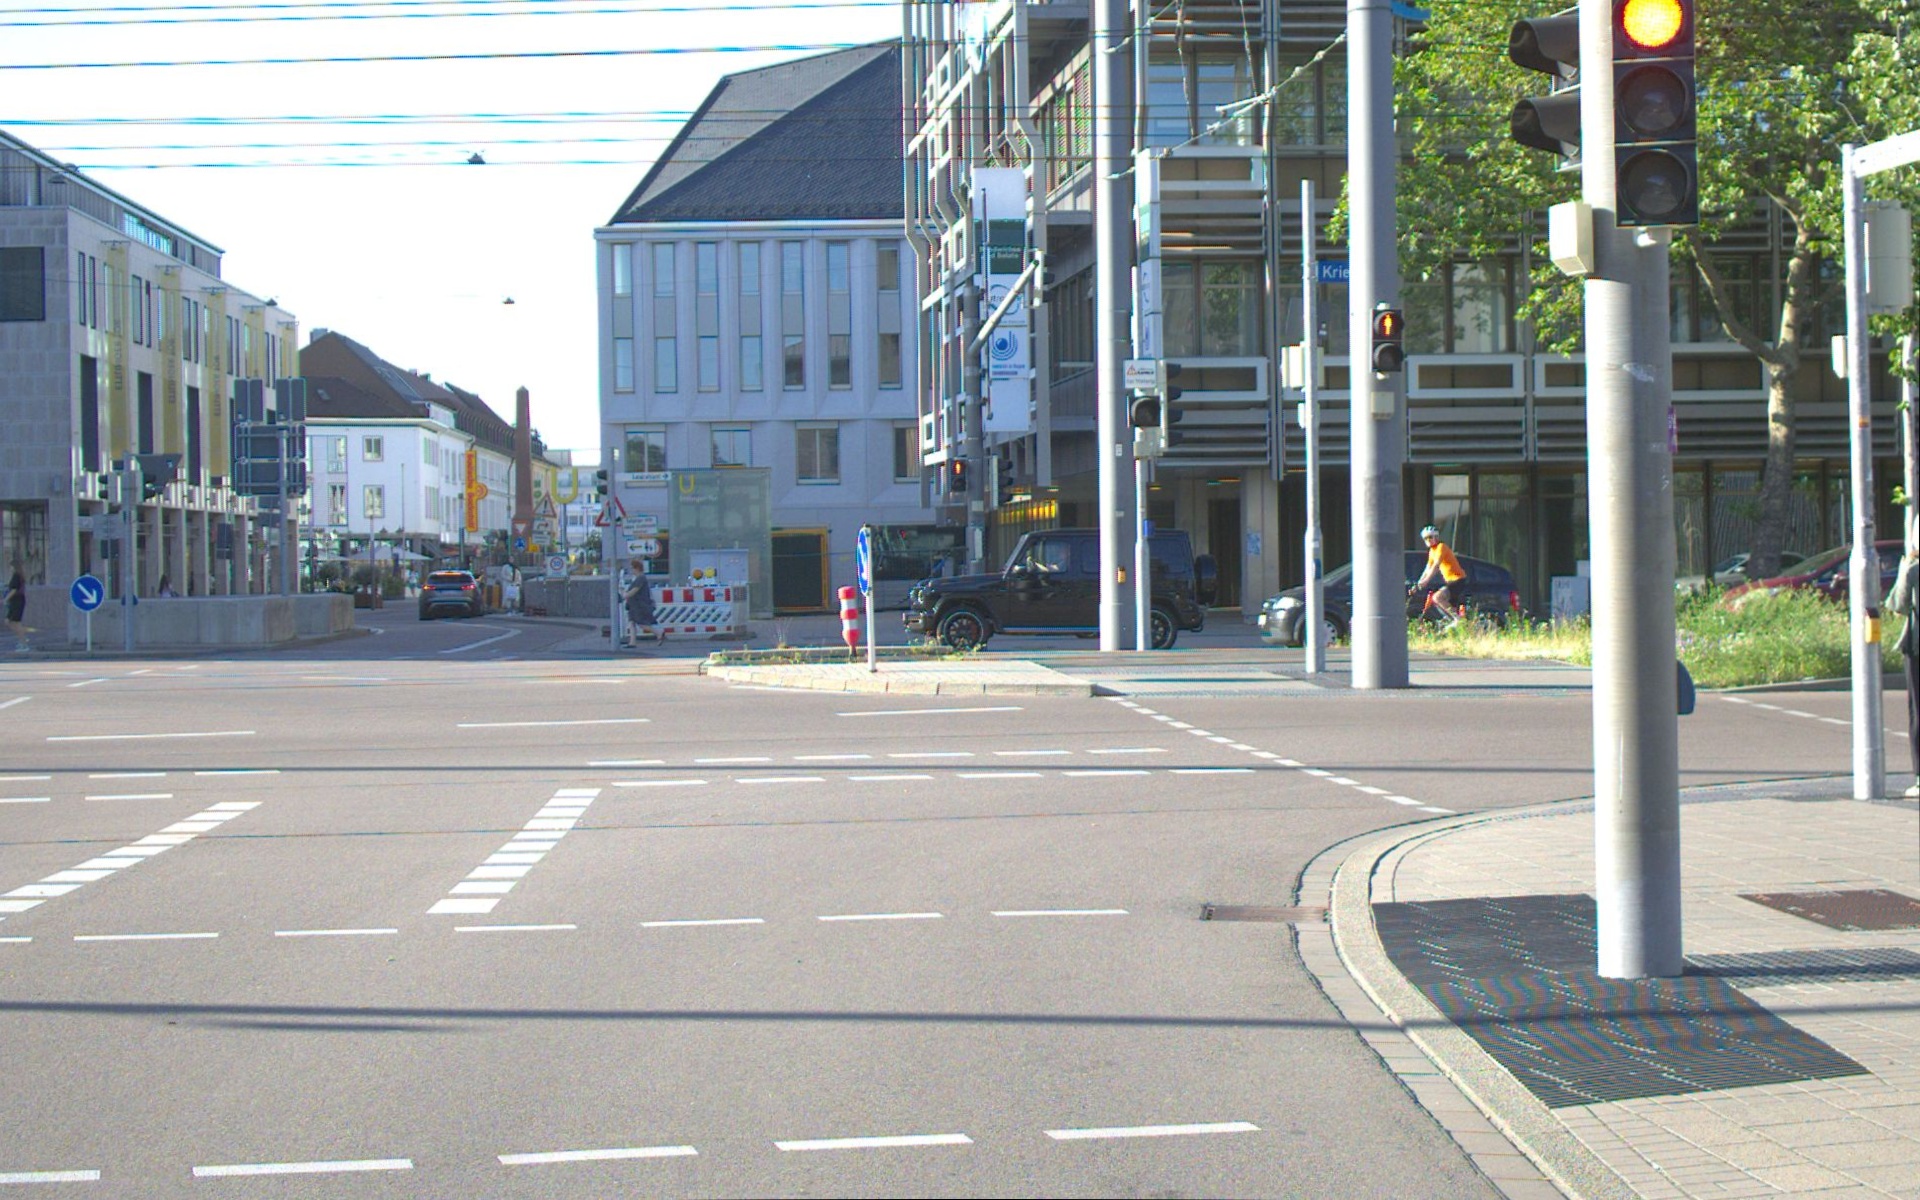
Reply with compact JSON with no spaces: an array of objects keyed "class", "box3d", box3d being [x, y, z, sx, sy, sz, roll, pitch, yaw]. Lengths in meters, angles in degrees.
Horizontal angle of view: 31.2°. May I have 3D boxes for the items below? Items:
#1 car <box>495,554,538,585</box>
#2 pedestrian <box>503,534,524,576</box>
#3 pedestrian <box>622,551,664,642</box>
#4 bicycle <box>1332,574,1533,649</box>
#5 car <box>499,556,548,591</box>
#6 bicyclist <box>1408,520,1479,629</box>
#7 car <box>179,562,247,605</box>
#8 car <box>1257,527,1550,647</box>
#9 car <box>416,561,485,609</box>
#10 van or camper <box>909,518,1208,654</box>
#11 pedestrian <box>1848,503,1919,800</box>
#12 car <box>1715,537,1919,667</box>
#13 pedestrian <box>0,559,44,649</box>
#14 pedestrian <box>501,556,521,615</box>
[{"class":"car","box3d":[-21.403,-1.475,166.094,1.658,1.453,3.542,-1,1,-1]},{"class":"pedestrian","box3d":[-21.381,-2.159,164.680,0.910,1.958,0.823,1,0,-1]},{"class":"pedestrian","box3d":[-5.900,-0.065,64.073,0.700,1.682,0.619,-1,1,0]},{"class":"bicycle","box3d":[6.464,0.153,47.110,2.568,0.972,1.047,-1,1,-3]},{"class":"car","box3d":[-18.538,-1.128,146.221,1.658,1.453,3.542,-1,1,-1]},{"class":"bicyclist","box3d":[6.621,-0.355,47.119,0.822,1.469,0.652,-1,1,-4]},{"class":"car","box3d":[-26.530,-0.589,122.125,1.658,1.453,3.542,-1,1,-1]},{"class":"car","box3d":[6.426,-0.205,50.084,3.986,1.678,1.761,-1,1,-1]},{"class":"car","box3d":[-16.007,-0.481,108.073,1.658,1.453,3.542,-1,1,-1]},{"class":"van or camper","box3d":[1.490,-0.230,53.282,4.414,2.007,1.995,-1,1,-5]},{"class":"pedestrian","box3d":[5.480,0.272,18.903,0.765,1.608,0.874,-1,1,-23]},{"class":"car","box3d":[12.588,-0.001,46.445,4.287,1.678,1.826,-1,1,-10]},{"class":"pedestrian","box3d":[-17.346,0.065,63.490,0.776,1.632,0.626,-1,1,-13]},{"class":"pedestrian","box3d":[-12.737,-0.417,97.488,0.489,1.658,0.532,1,0,-14]}]
